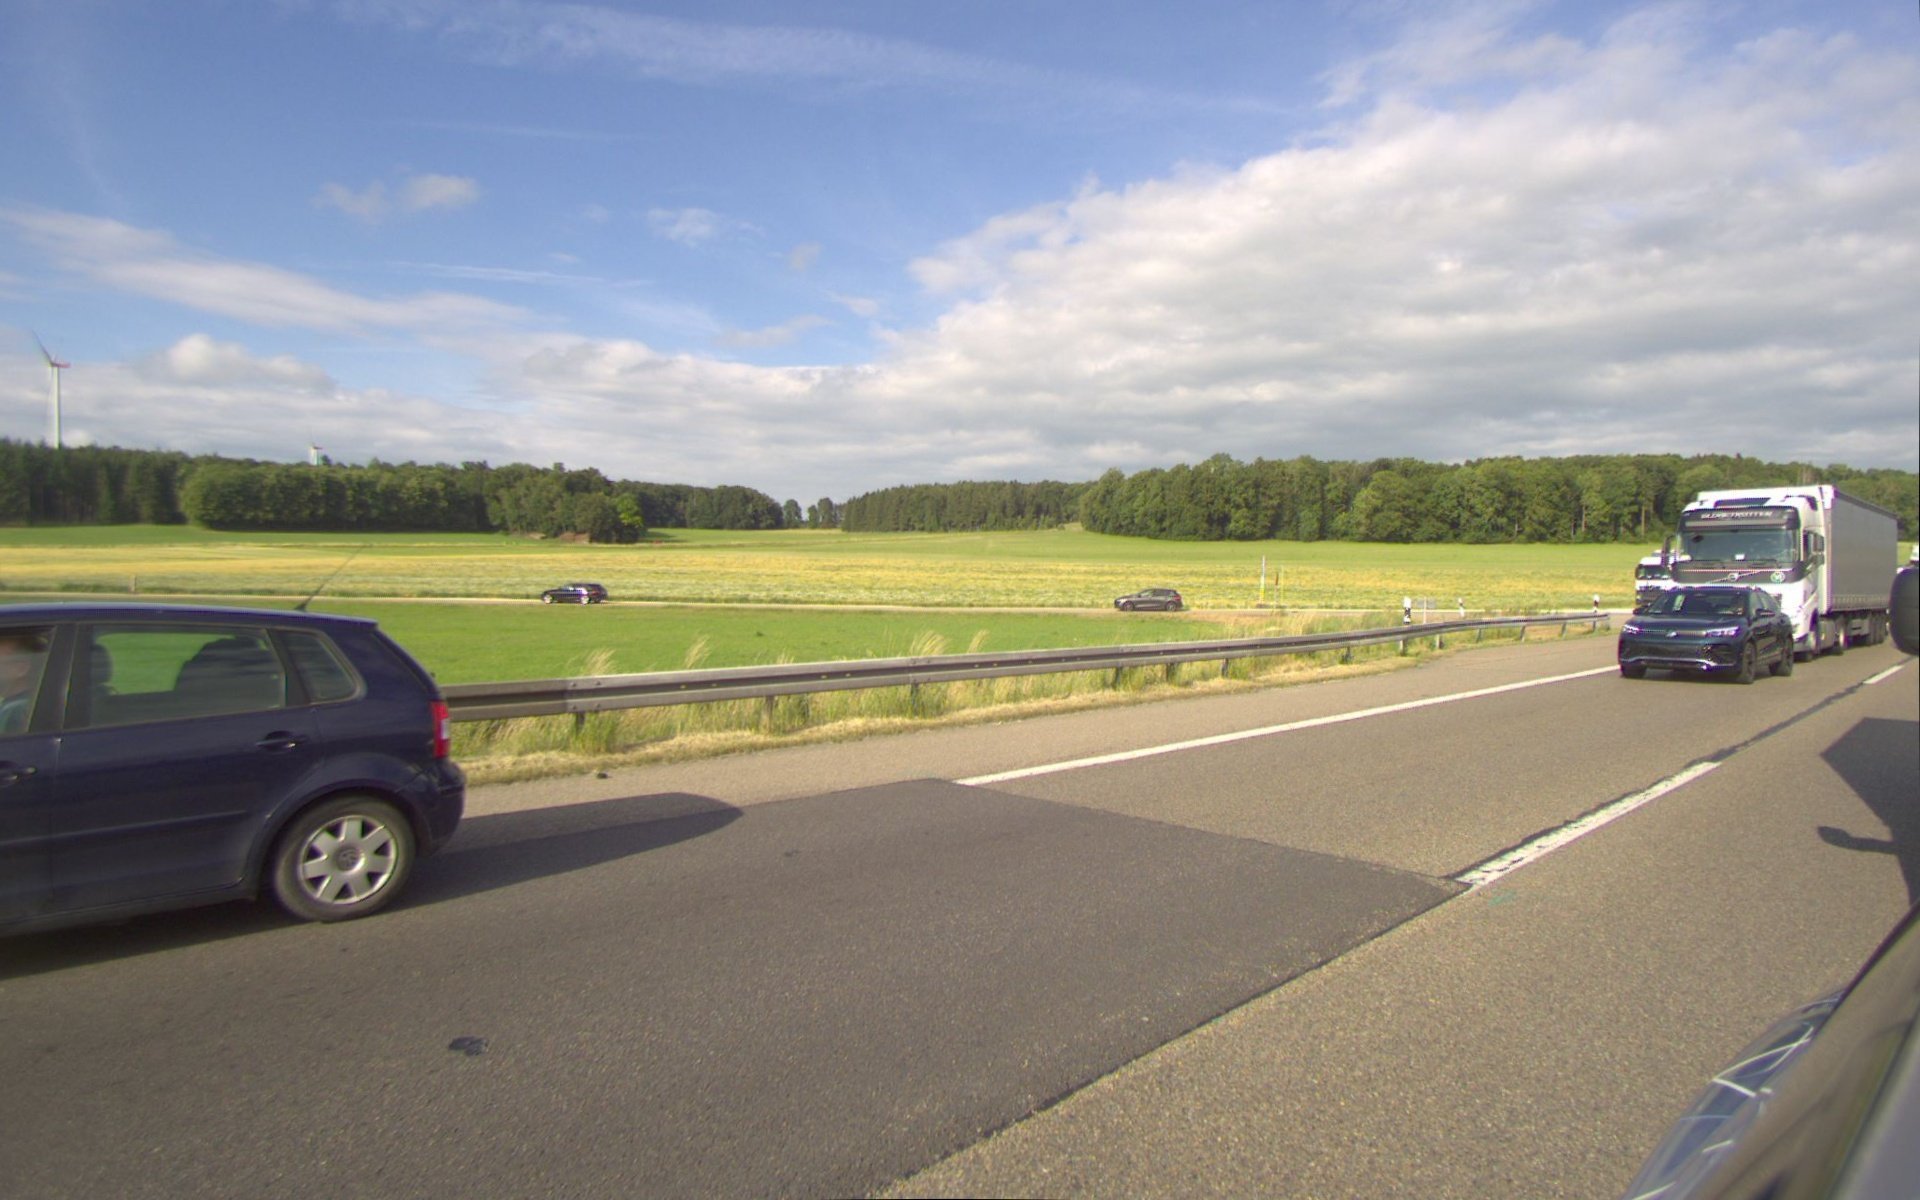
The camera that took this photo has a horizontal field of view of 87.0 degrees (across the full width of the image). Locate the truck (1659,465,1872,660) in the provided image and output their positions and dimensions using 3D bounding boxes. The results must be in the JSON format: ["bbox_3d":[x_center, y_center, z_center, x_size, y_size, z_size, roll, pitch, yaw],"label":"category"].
[{"bbox_3d":[19.294,-0.821,24.113,6.387,4.040,2.840,-1,0,-41],"label":"truck"}]

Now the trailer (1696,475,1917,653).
[{"bbox_3d":[23.635,-0.882,27.889,11.916,4.032,2.824,-1,0,-41],"label":"trailer"}]

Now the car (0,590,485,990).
[{"bbox_3d":[-4.223,0.701,4.261,3.710,1.464,1.712,-1,1,-42],"label":"car"}]

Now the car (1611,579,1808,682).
[{"bbox_3d":[13.395,0.448,18.022,4.047,1.616,1.997,-1,1,-41],"label":"car"}]

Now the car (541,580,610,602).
[{"bbox_3d":[-26.652,-0.604,70.172,4.154,1.505,1.832,0,0,12],"label":"car"}]

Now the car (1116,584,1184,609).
[{"bbox_3d":[11.982,-0.225,63.954,4.154,1.505,1.832,0,0,12],"label":"car"}]
